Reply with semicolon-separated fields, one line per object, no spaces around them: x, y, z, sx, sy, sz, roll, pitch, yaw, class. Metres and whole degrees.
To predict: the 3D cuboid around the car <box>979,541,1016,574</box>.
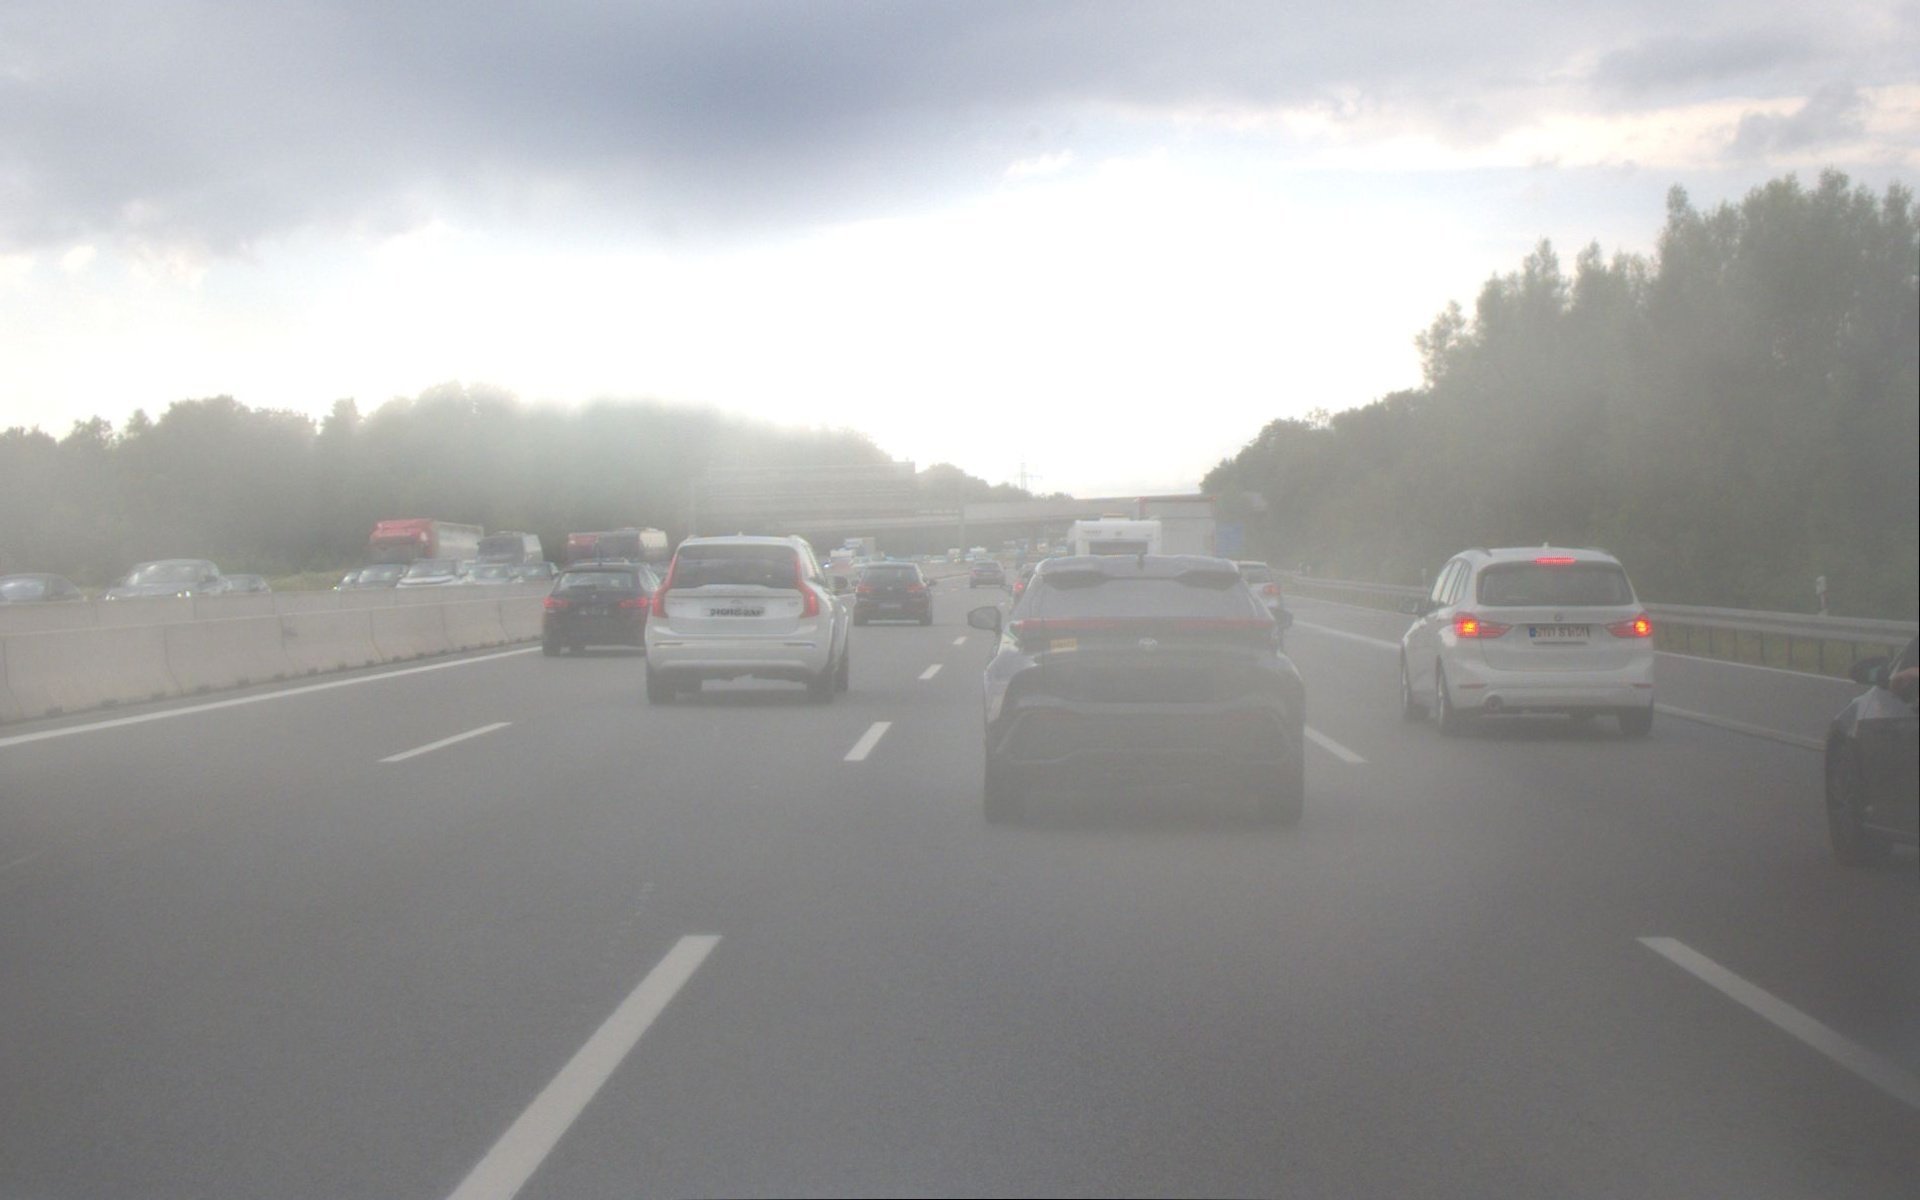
1.950;-2.232;179.731;1.881;1.680;4.000;0;1;0;car

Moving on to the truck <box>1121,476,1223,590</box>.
7.103;-2.225;116.217;3.133;3.697;9.847;0;1;2;truck

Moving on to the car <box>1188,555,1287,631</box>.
5.494;-0.162;68.404;1.795;1.472;4.037;0;1;2;car

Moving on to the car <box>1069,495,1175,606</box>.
4.345;-1.339;93.227;2.567;2.885;7.534;0;1;0;car

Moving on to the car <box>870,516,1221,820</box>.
0.399;0.332;20.575;1.780;1.607;4.598;0;1;-3;car

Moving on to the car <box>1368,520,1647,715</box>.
4.754;0.112;30.457;1.810;1.593;4.696;0;1;1;car

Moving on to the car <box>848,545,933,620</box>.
-1.587;-0.418;79.759;1.881;1.680;4.000;0;1;0;car

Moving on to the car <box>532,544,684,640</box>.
-5.632;-0.149;55.439;1.781;1.476;4.352;0;1;3;car

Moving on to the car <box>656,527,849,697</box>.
-2.165;0.095;36.886;1.781;1.710;4.353;0;1;0;car

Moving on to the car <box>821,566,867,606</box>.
-4.379;-0.550;130.108;1.563;1.472;3.920;0;1;0;car

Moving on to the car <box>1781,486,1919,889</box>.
4.866;0.332;15.367;1.707;1.625;4.456;0;1;5;car

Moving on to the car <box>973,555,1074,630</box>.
1.264;-0.169;66.769;1.885;1.402;4.282;0;1;2;car
